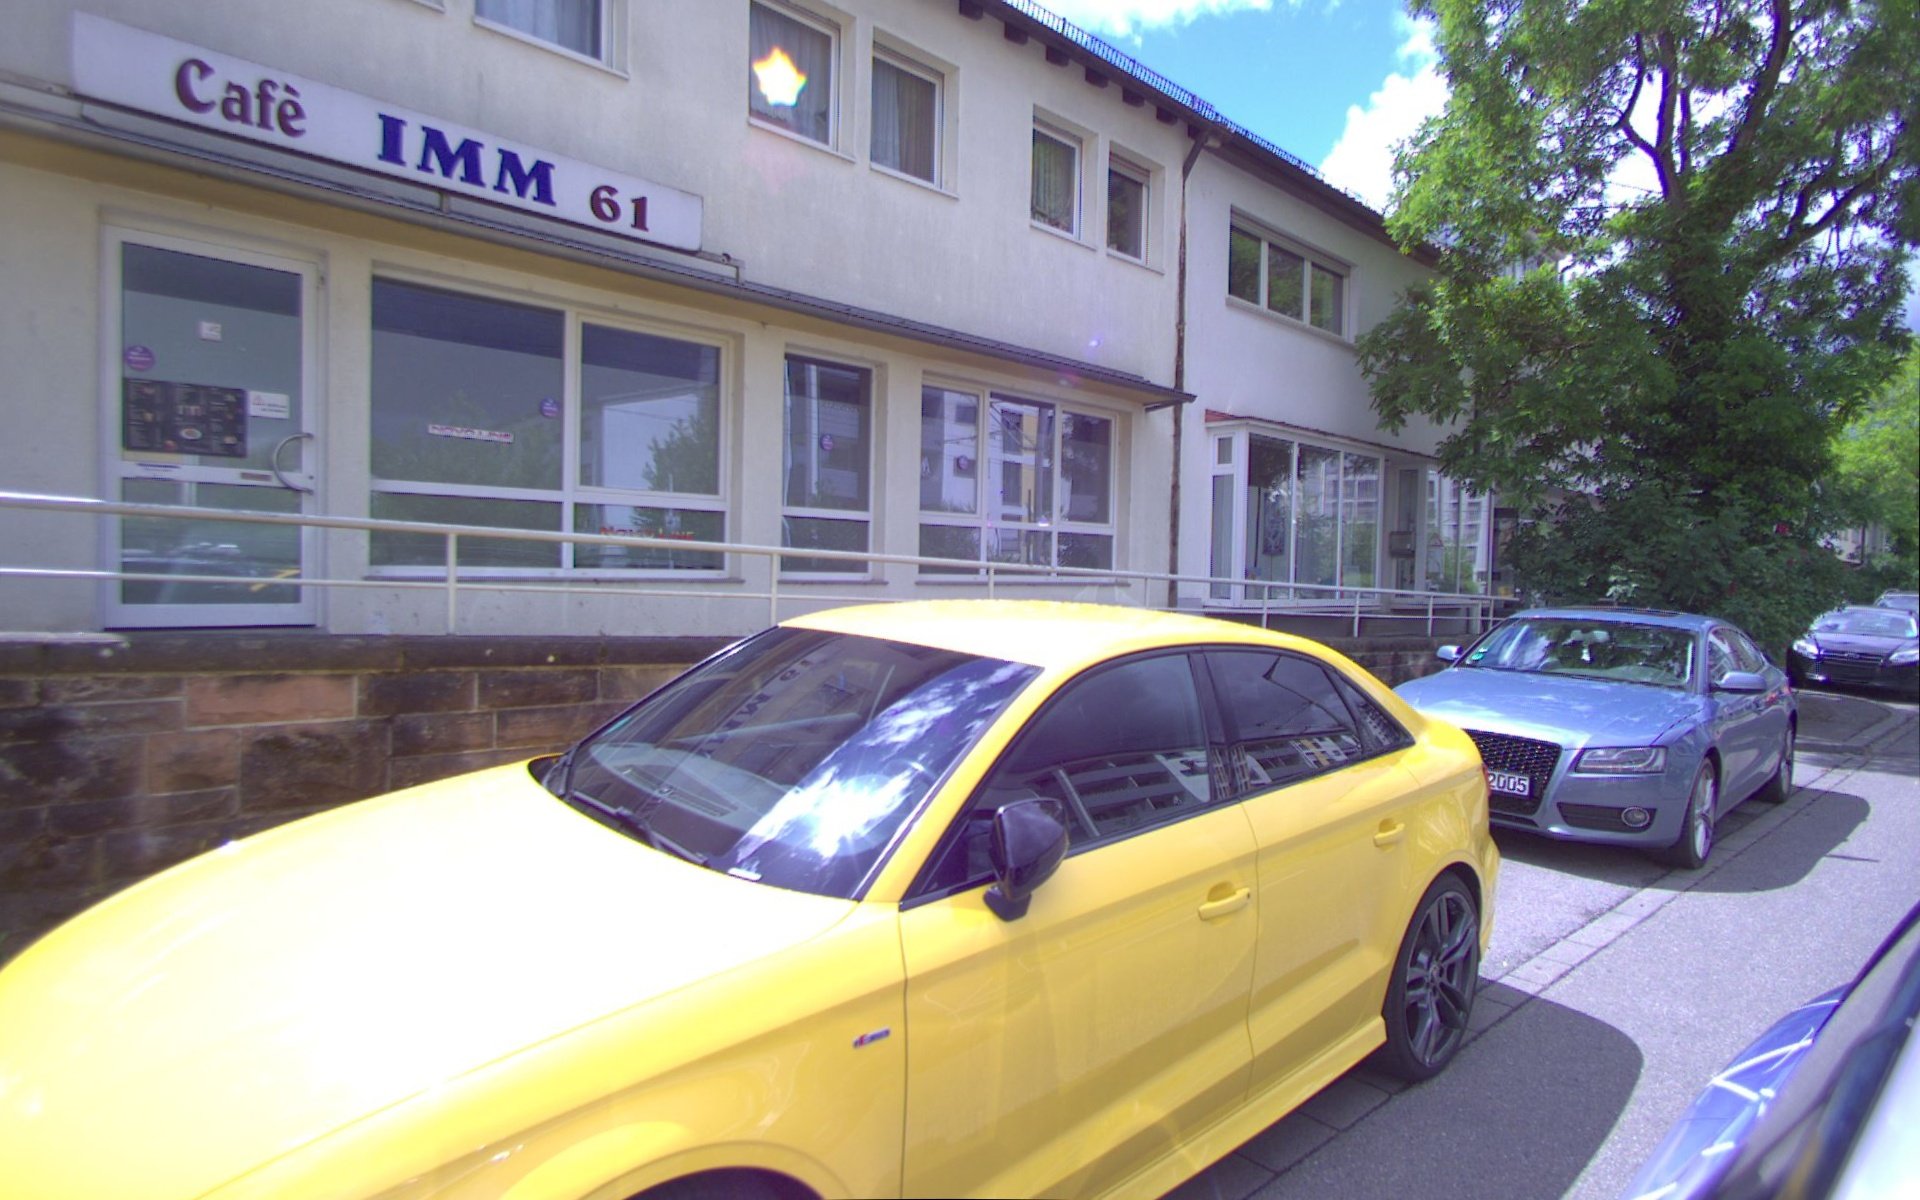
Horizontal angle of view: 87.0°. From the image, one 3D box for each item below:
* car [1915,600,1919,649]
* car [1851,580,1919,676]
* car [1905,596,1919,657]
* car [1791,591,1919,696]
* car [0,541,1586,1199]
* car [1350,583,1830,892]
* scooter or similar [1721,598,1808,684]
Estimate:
[{"bbox_3d":[28.961,0.749,28.968,3.927,1.365,1.777,0,4,-39],"label":"car"},{"bbox_3d":[20.180,0.549,20.864,4.987,1.810,2.019,0,2,-41],"label":"car"},{"bbox_3d":[25.139,0.698,25.438,3.835,1.459,1.774,0,4,-44],"label":"car"},{"bbox_3d":[15.518,0.654,16.993,4.171,1.524,1.837,0,2,-43],"label":"car"},{"bbox_3d":[0.022,0.654,2.869,4.265,1.460,1.759,0,3,-41],"label":"car"},{"bbox_3d":[4.646,0.666,7.137,4.418,1.460,1.758,0,2,-43],"label":"car"},{"bbox_3d":[12.614,0.619,15.896,0.528,1.258,1.232,3,1,12],"label":"scooter or similar"}]
